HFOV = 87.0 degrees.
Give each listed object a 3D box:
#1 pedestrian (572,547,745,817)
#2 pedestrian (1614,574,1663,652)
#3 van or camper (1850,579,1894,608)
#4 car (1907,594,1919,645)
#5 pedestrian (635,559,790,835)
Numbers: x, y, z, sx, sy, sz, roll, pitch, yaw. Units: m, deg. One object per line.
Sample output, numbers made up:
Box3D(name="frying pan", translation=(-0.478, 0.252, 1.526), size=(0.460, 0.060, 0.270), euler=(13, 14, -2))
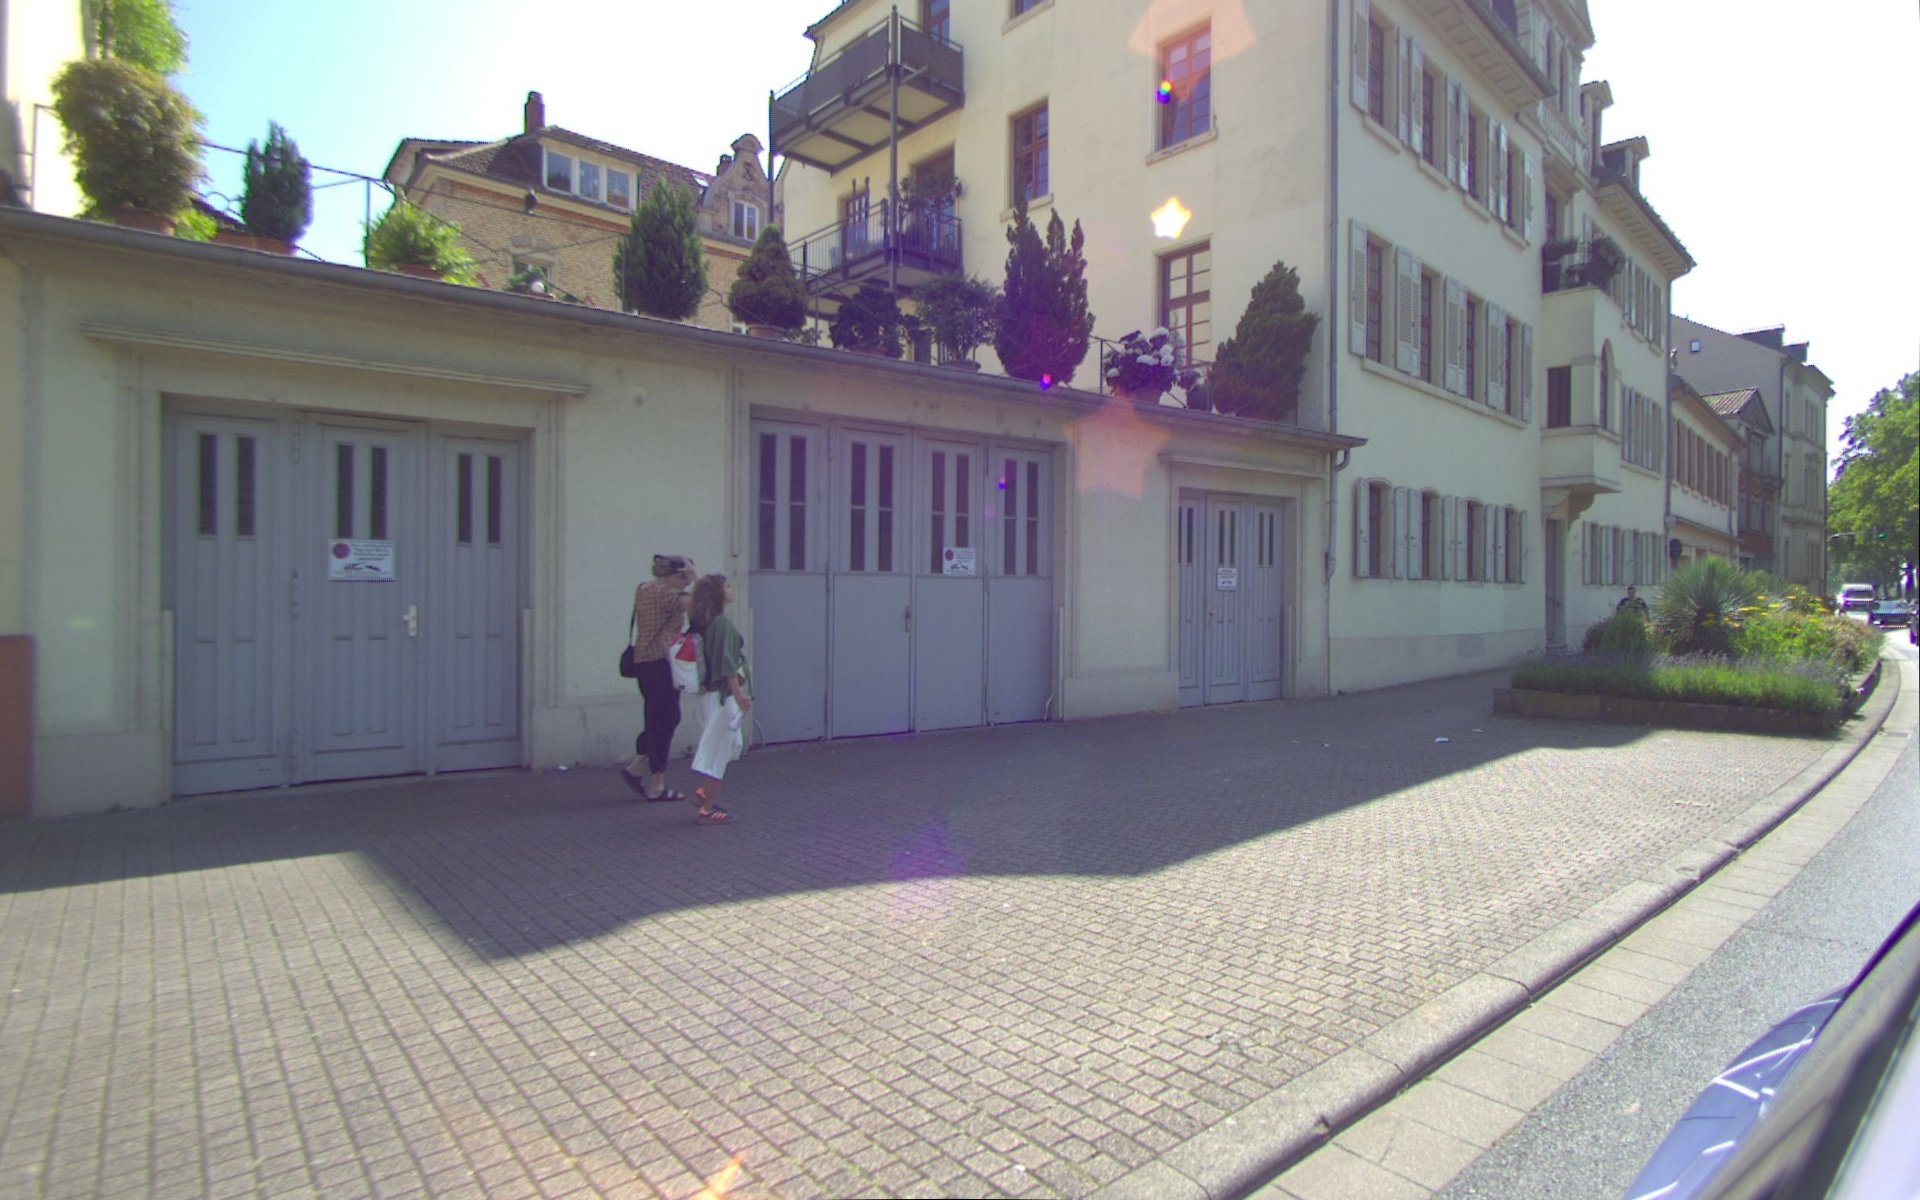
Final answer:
Box3D(name="pedestrian", translation=(-2.093, 0.513, 7.033), size=(0.917, 1.720, 0.739), euler=(0, 1, -42))
Box3D(name="pedestrian", translation=(15.821, 0.293, 23.613), size=(0.762, 1.734, 0.685), euler=(4, 3, 44))
Box3D(name="van or camper", translation=(76.452, -0.540, 84.897), size=(2.428, 2.313, 6.115), euler=(1, 1, 40))
Box3D(name="car", translation=(29.287, 0.561, 29.649), size=(4.663, 1.442, 1.873), euler=(0, -1, -42))
Box3D(name="pedestrian", translation=(-1.578, 0.563, 6.431), size=(0.684, 1.615, 0.763), euler=(0, 0, -41))
